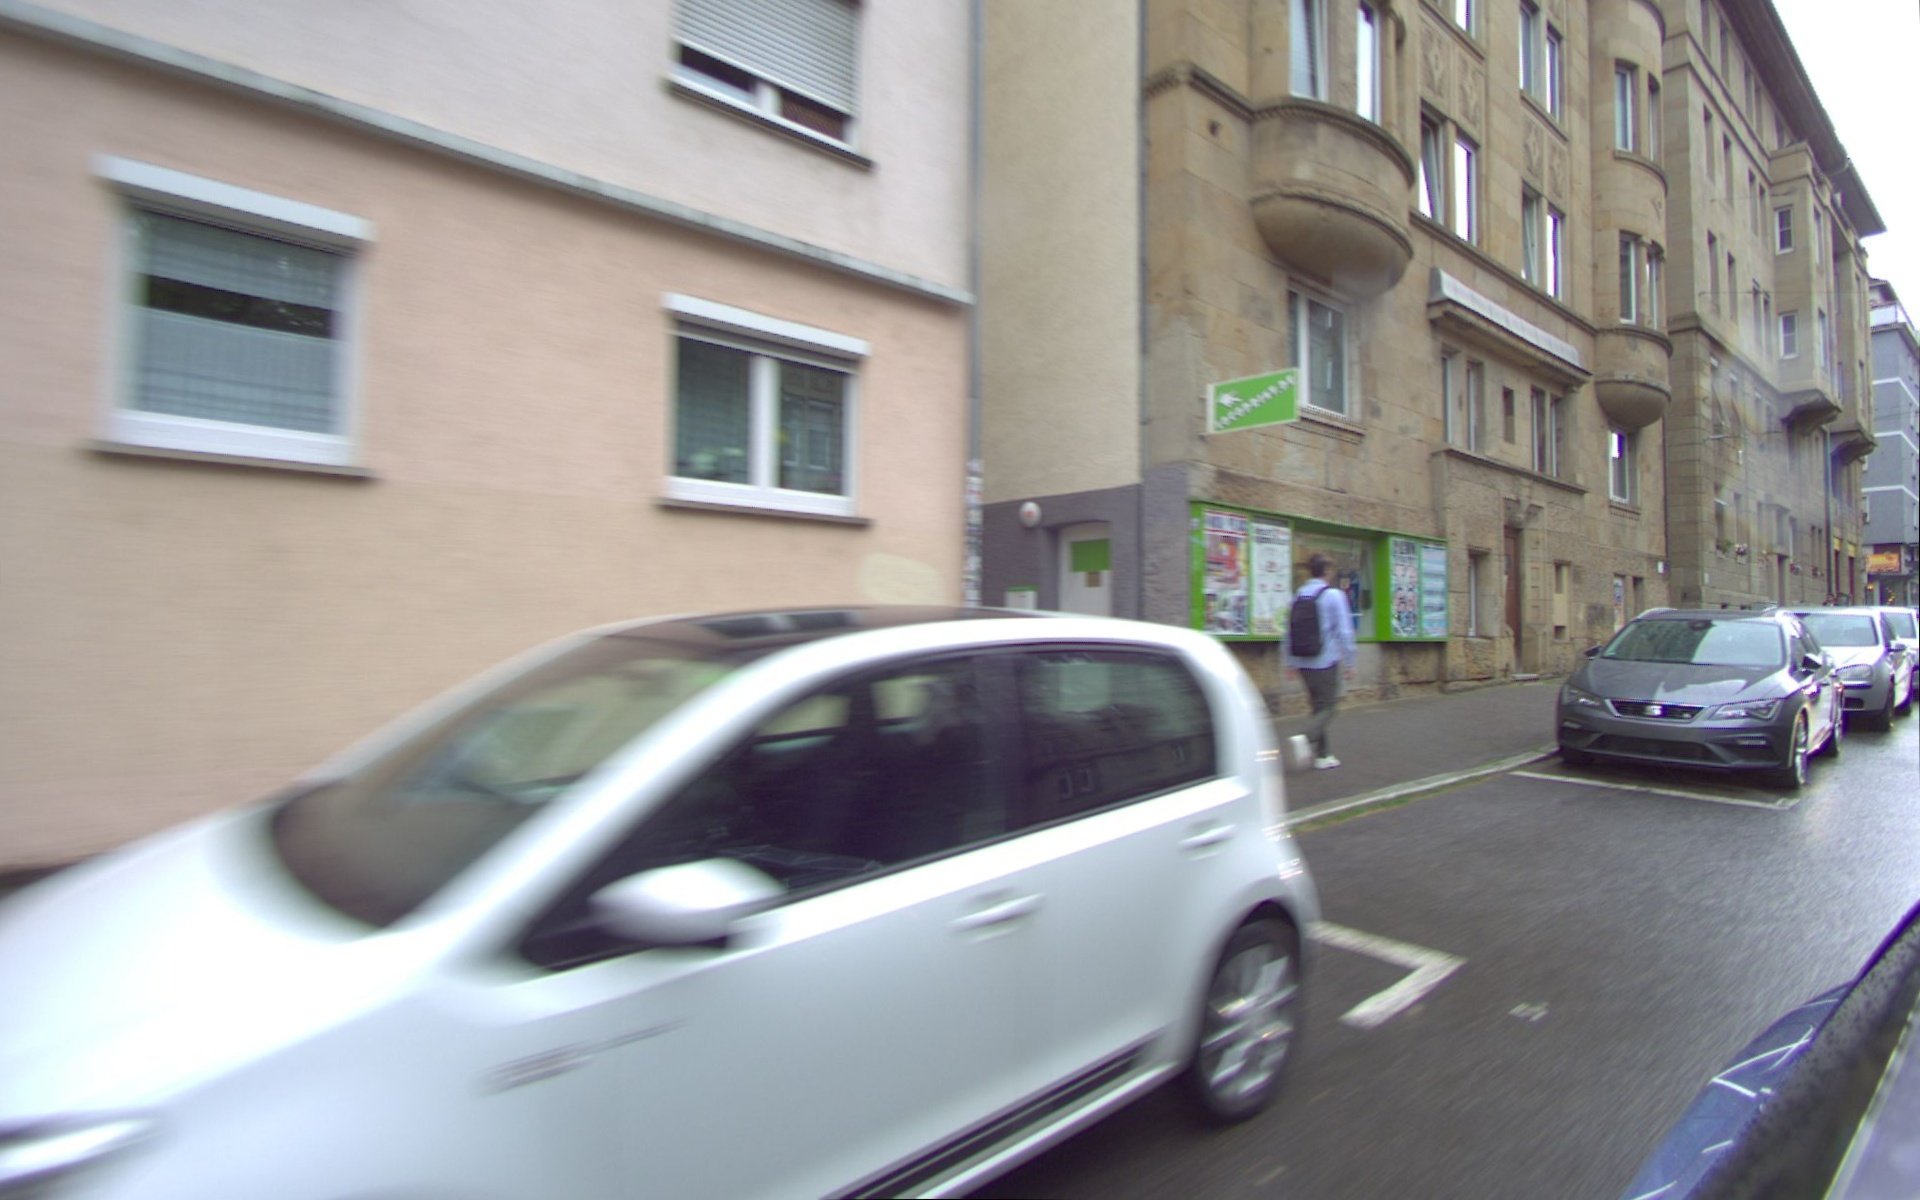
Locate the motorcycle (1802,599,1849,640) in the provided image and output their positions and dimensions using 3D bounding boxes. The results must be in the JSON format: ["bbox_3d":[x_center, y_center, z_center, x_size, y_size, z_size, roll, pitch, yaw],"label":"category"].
[{"bbox_3d":[26.455,0.575,30.923,2.698,1.214,0.706,0,0,-41],"label":"motorcycle"}]

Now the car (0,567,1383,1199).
[{"bbox_3d":[-0.469,0.692,2.726,3.536,1.480,1.573,0,0,-41],"label":"car"}]

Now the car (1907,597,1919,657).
[{"bbox_3d":[26.058,0.672,26.325,4.014,1.481,1.789,0,0,-43],"label":"car"}]

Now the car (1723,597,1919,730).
[{"bbox_3d":[11.488,0.706,13.284,3.889,1.452,1.670,0,1,-42],"label":"car"}]

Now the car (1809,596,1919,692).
[{"bbox_3d":[15.737,0.675,17.221,3.622,1.452,1.592,0,1,-43],"label":"car"}]

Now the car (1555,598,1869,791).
[{"bbox_3d":[7.303,0.703,9.657,4.239,1.428,1.671,0,0,-43],"label":"car"}]

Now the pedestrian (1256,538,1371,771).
[{"bbox_3d":[2.868,0.411,8.218,0.677,1.785,0.608,0,1,-42],"label":"pedestrian"}]

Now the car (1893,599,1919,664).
[{"bbox_3d":[22.674,0.695,23.255,3.388,1.433,1.545,0,0,-43],"label":"car"}]

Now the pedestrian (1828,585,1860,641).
[{"bbox_3d":[24.650,0.353,28.220,0.697,1.555,0.562,0,-1,-41],"label":"pedestrian"}]
